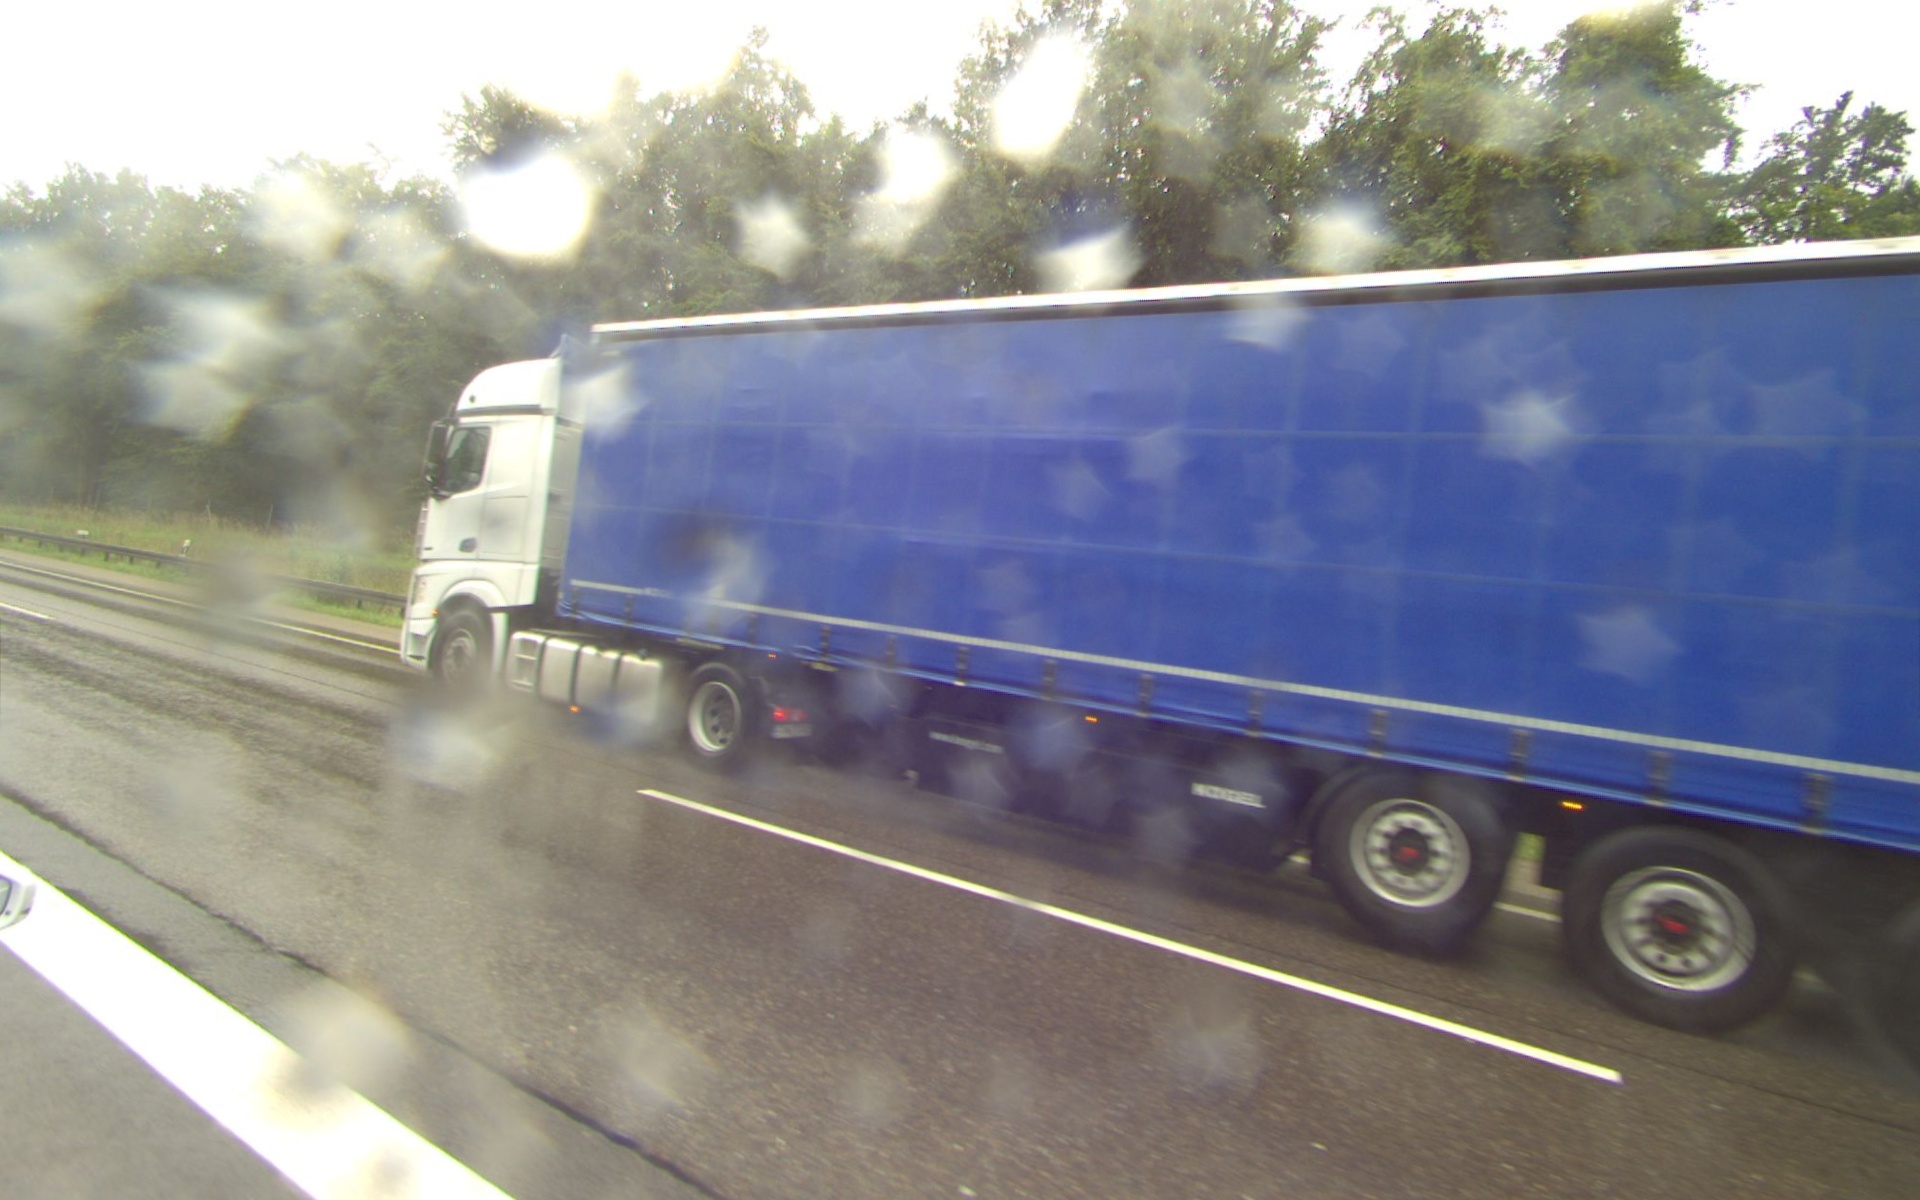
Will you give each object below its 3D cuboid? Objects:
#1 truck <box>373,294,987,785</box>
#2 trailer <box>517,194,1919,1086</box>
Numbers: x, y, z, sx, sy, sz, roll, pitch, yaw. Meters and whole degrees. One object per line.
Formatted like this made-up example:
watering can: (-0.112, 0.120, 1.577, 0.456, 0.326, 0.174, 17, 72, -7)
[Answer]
truck: (-3.141, -0.649, 10.881, 5.912, 4.059, 2.607, 7, -2, 31)
trailer: (2.232, -0.059, 7.443, 13.488, 4.060, 2.558, 7, -1, 32)
